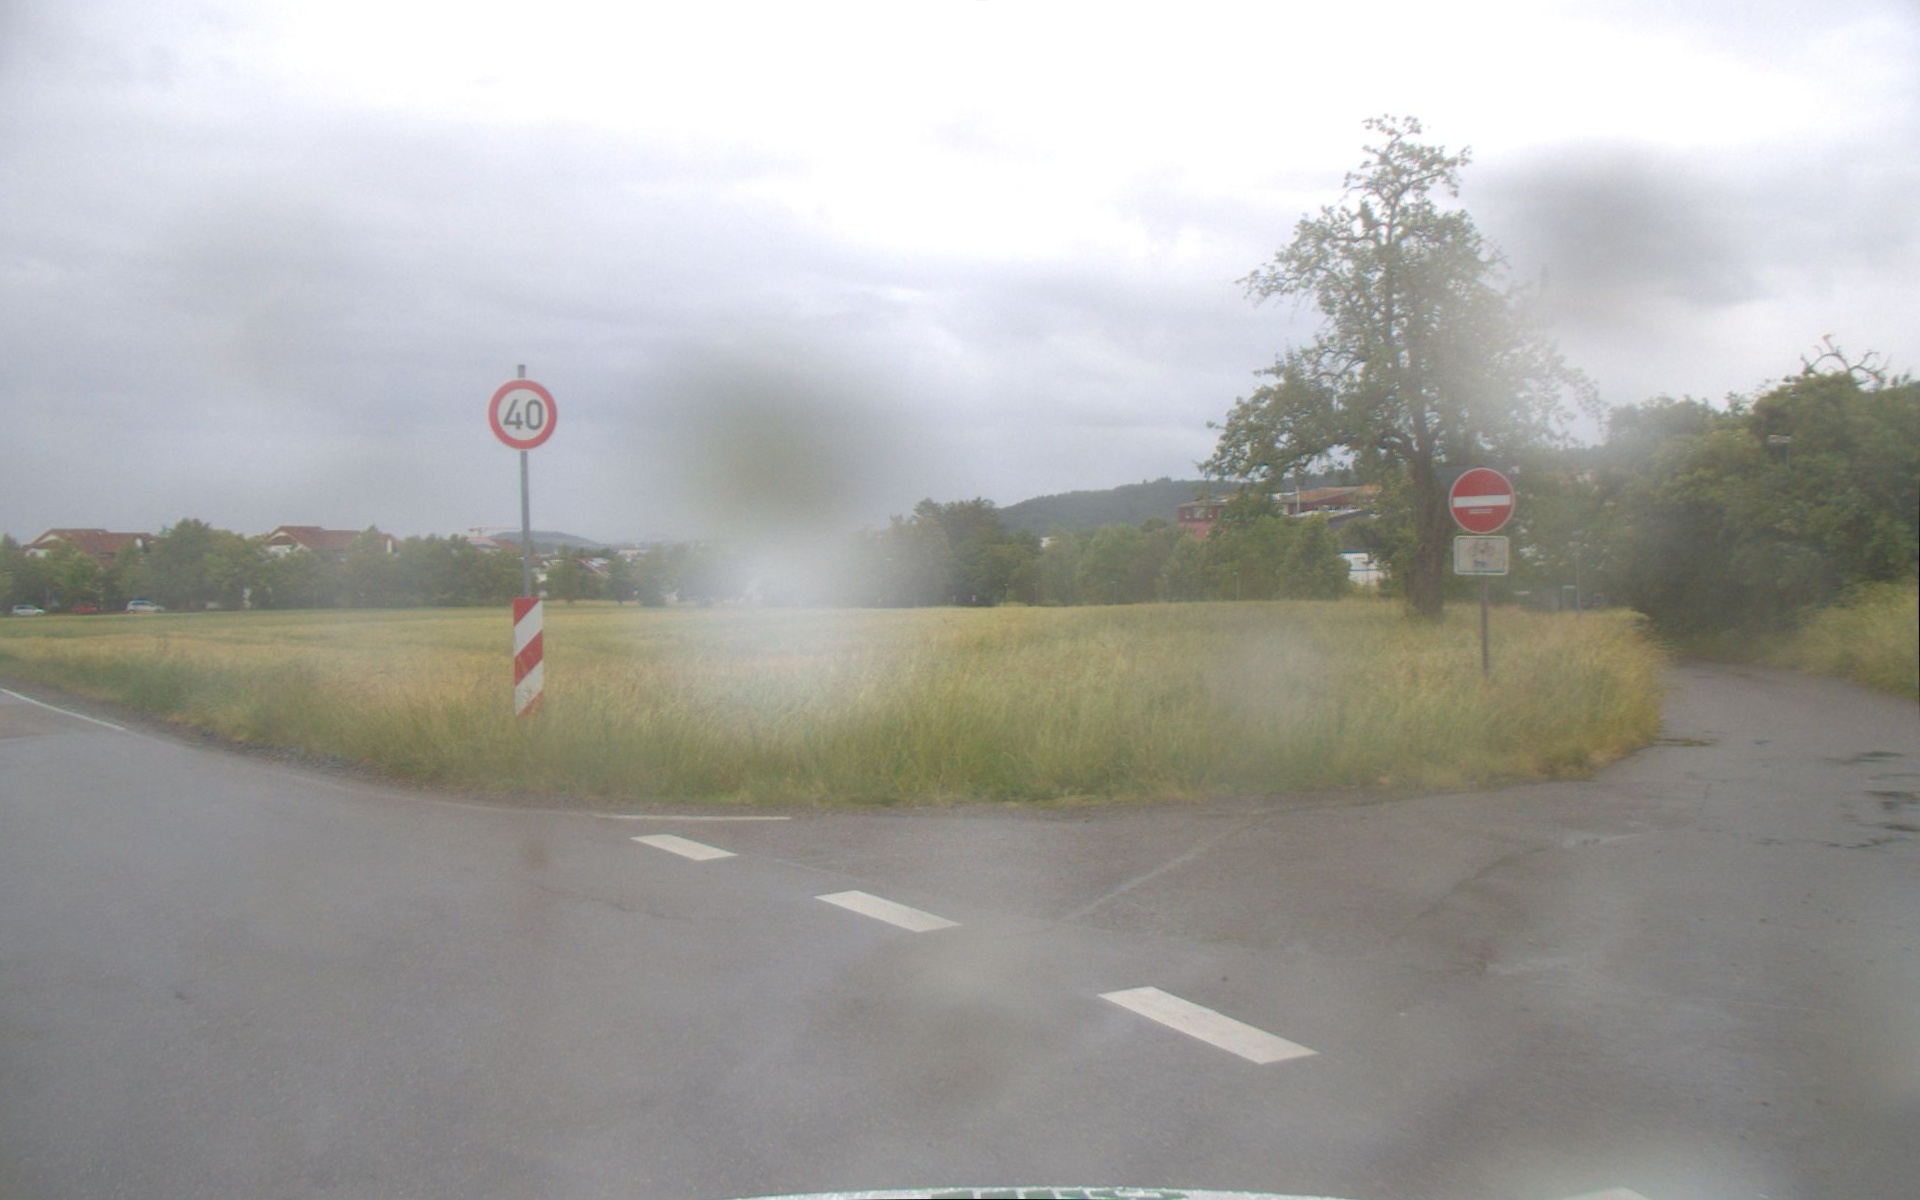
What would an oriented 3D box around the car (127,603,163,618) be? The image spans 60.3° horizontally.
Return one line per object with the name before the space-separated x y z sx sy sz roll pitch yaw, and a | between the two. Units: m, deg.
car | -95.459 1.224 193.783 3.659 1.591 1.599 -3 0 -23
